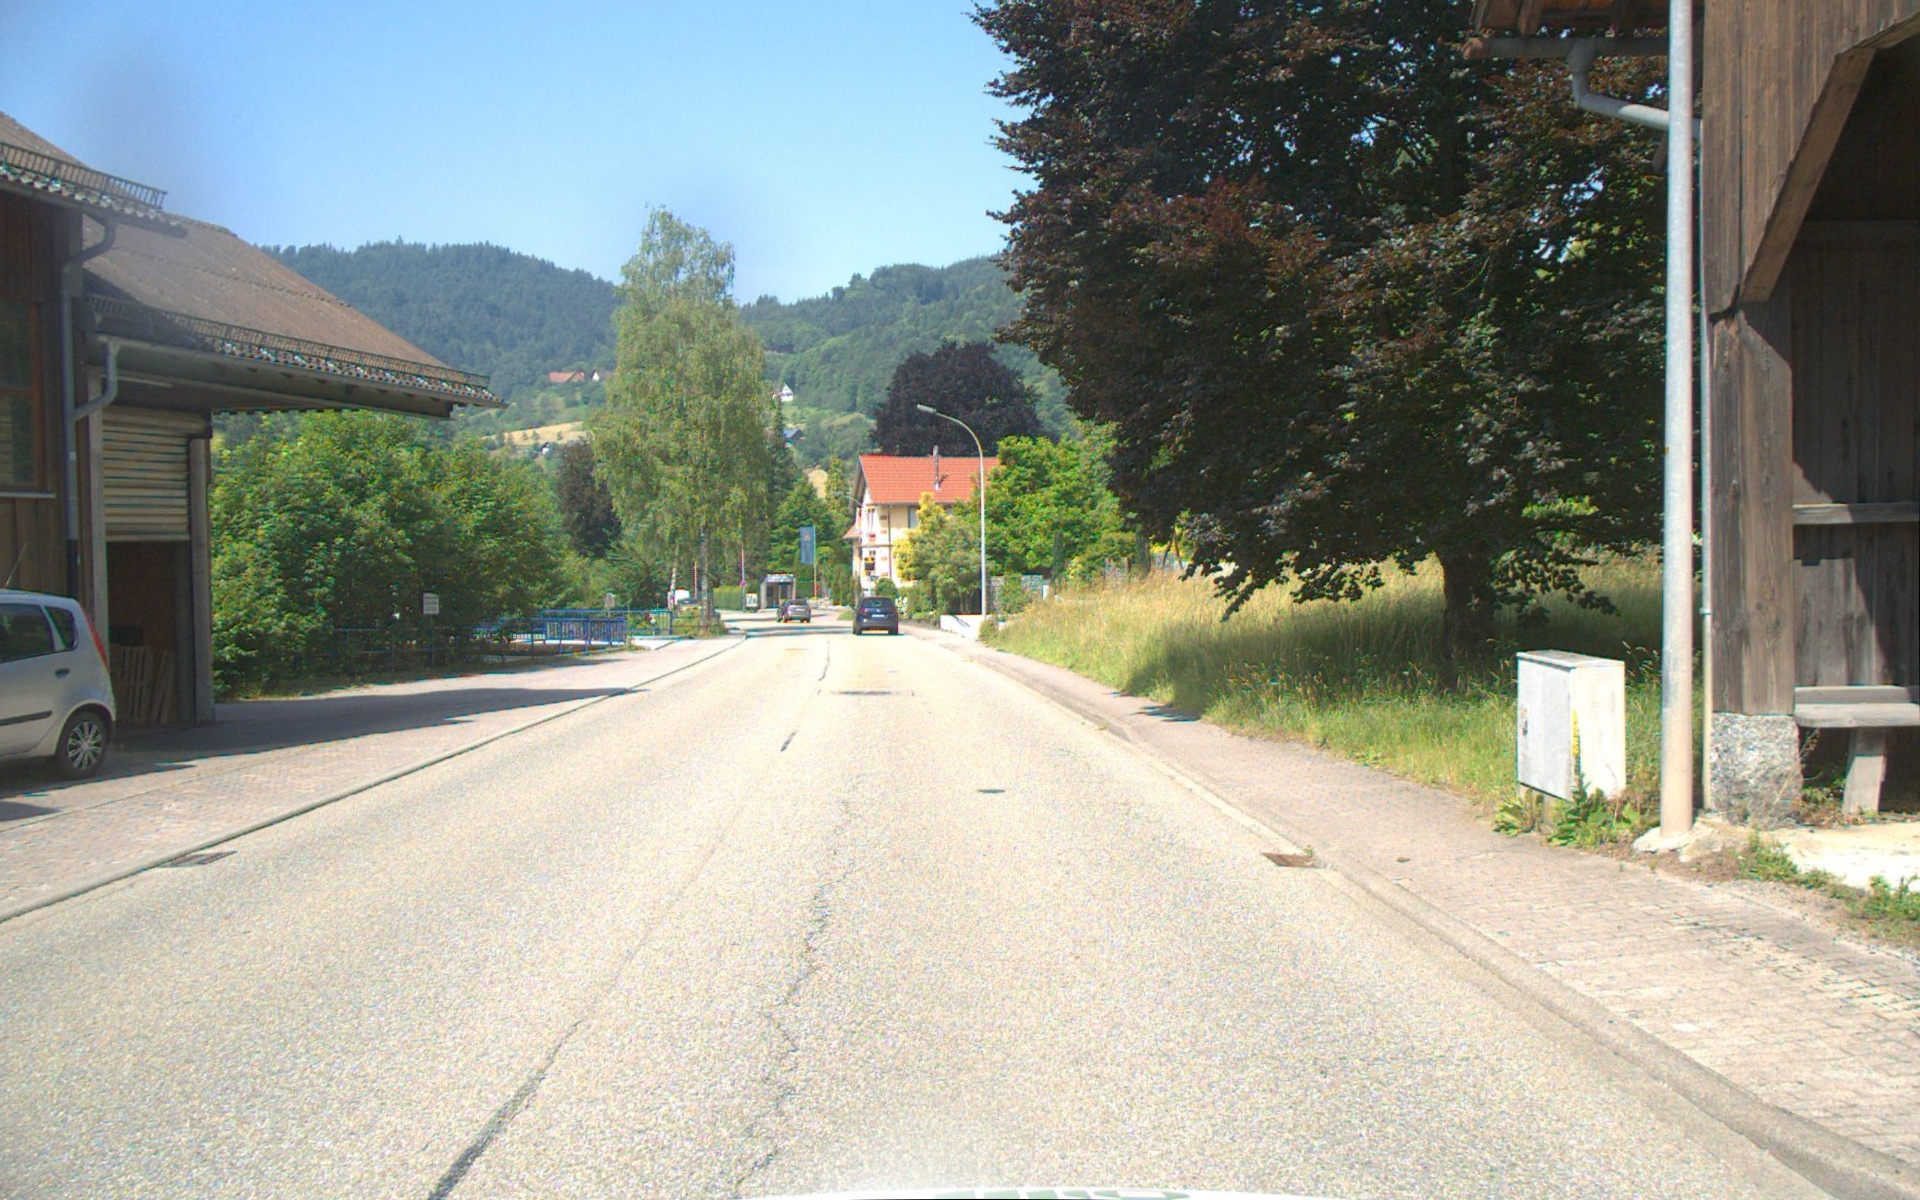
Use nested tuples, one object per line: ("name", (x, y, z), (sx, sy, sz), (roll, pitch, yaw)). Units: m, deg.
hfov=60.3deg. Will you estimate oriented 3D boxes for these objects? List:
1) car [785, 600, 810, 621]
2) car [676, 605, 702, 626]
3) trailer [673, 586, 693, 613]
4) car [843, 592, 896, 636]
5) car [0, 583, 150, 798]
("car", (-10.242, 0.637, 104.473), (1.448, 1.230, 2.382), (-2, 0, -5))
("car", (-21.140, 1.176, 129.068), (1.782, 1.526, 4.136), (-2, 0, -12))
("trailer", (-22.351, -0.066, 133.408), (1.440, 2.114, 3.661), (-2, 0, -10))
("car", (-3.801, 0.561, 69.027), (1.883, 1.728, 3.781), (-2, 0, -8))
("car", (-8.205, 0.700, 12.525), (1.547, 1.597, 4.027), (2, 1, 11))
